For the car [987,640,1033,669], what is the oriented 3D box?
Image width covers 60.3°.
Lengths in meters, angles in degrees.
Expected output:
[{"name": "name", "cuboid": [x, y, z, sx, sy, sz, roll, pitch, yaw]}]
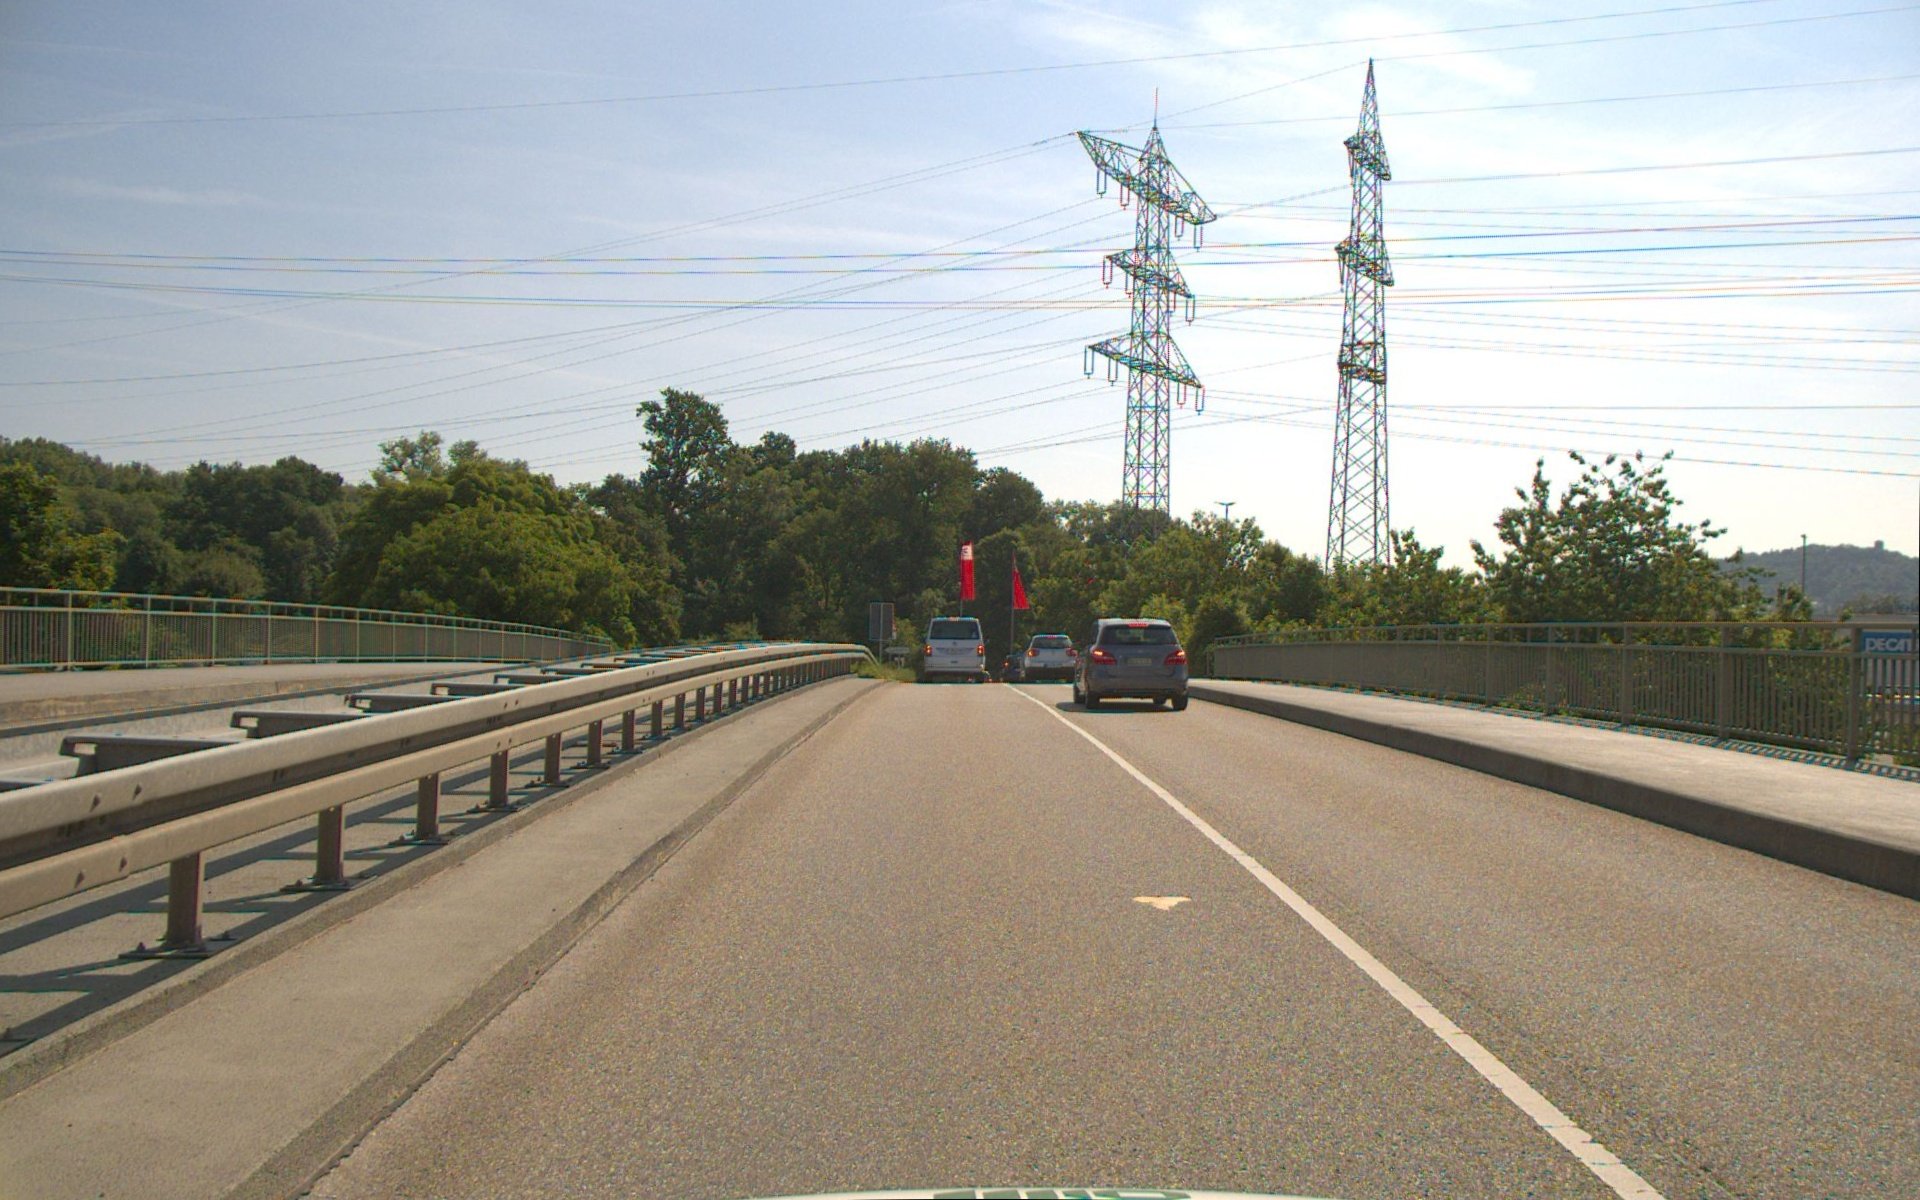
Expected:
[{"name": "car", "cuboid": [2.427, 2.661, 79.813, 1.735, 1.355, 3.743, 0, -2, 9]}]

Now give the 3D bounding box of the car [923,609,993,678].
[{"name": "car", "cuboid": [-0.022, 1.326, 51.495, 1.997, 2.049, 4.001, 0, -1, 2]}]

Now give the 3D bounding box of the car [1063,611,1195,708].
[{"name": "car", "cuboid": [2.953, 1.009, 29.639, 1.819, 1.556, 4.142, 0, 0, -2]}]

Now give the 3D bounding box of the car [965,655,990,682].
[{"name": "car", "cuboid": [1.132, 4.427, 107.267, 1.518, 1.580, 3.554, 1, -1, -1]}]

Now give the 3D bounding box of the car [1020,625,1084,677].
[{"name": "car", "cuboid": [2.851, 1.644, 51.912, 1.818, 1.556, 4.143, 0, -3, 0]}]
